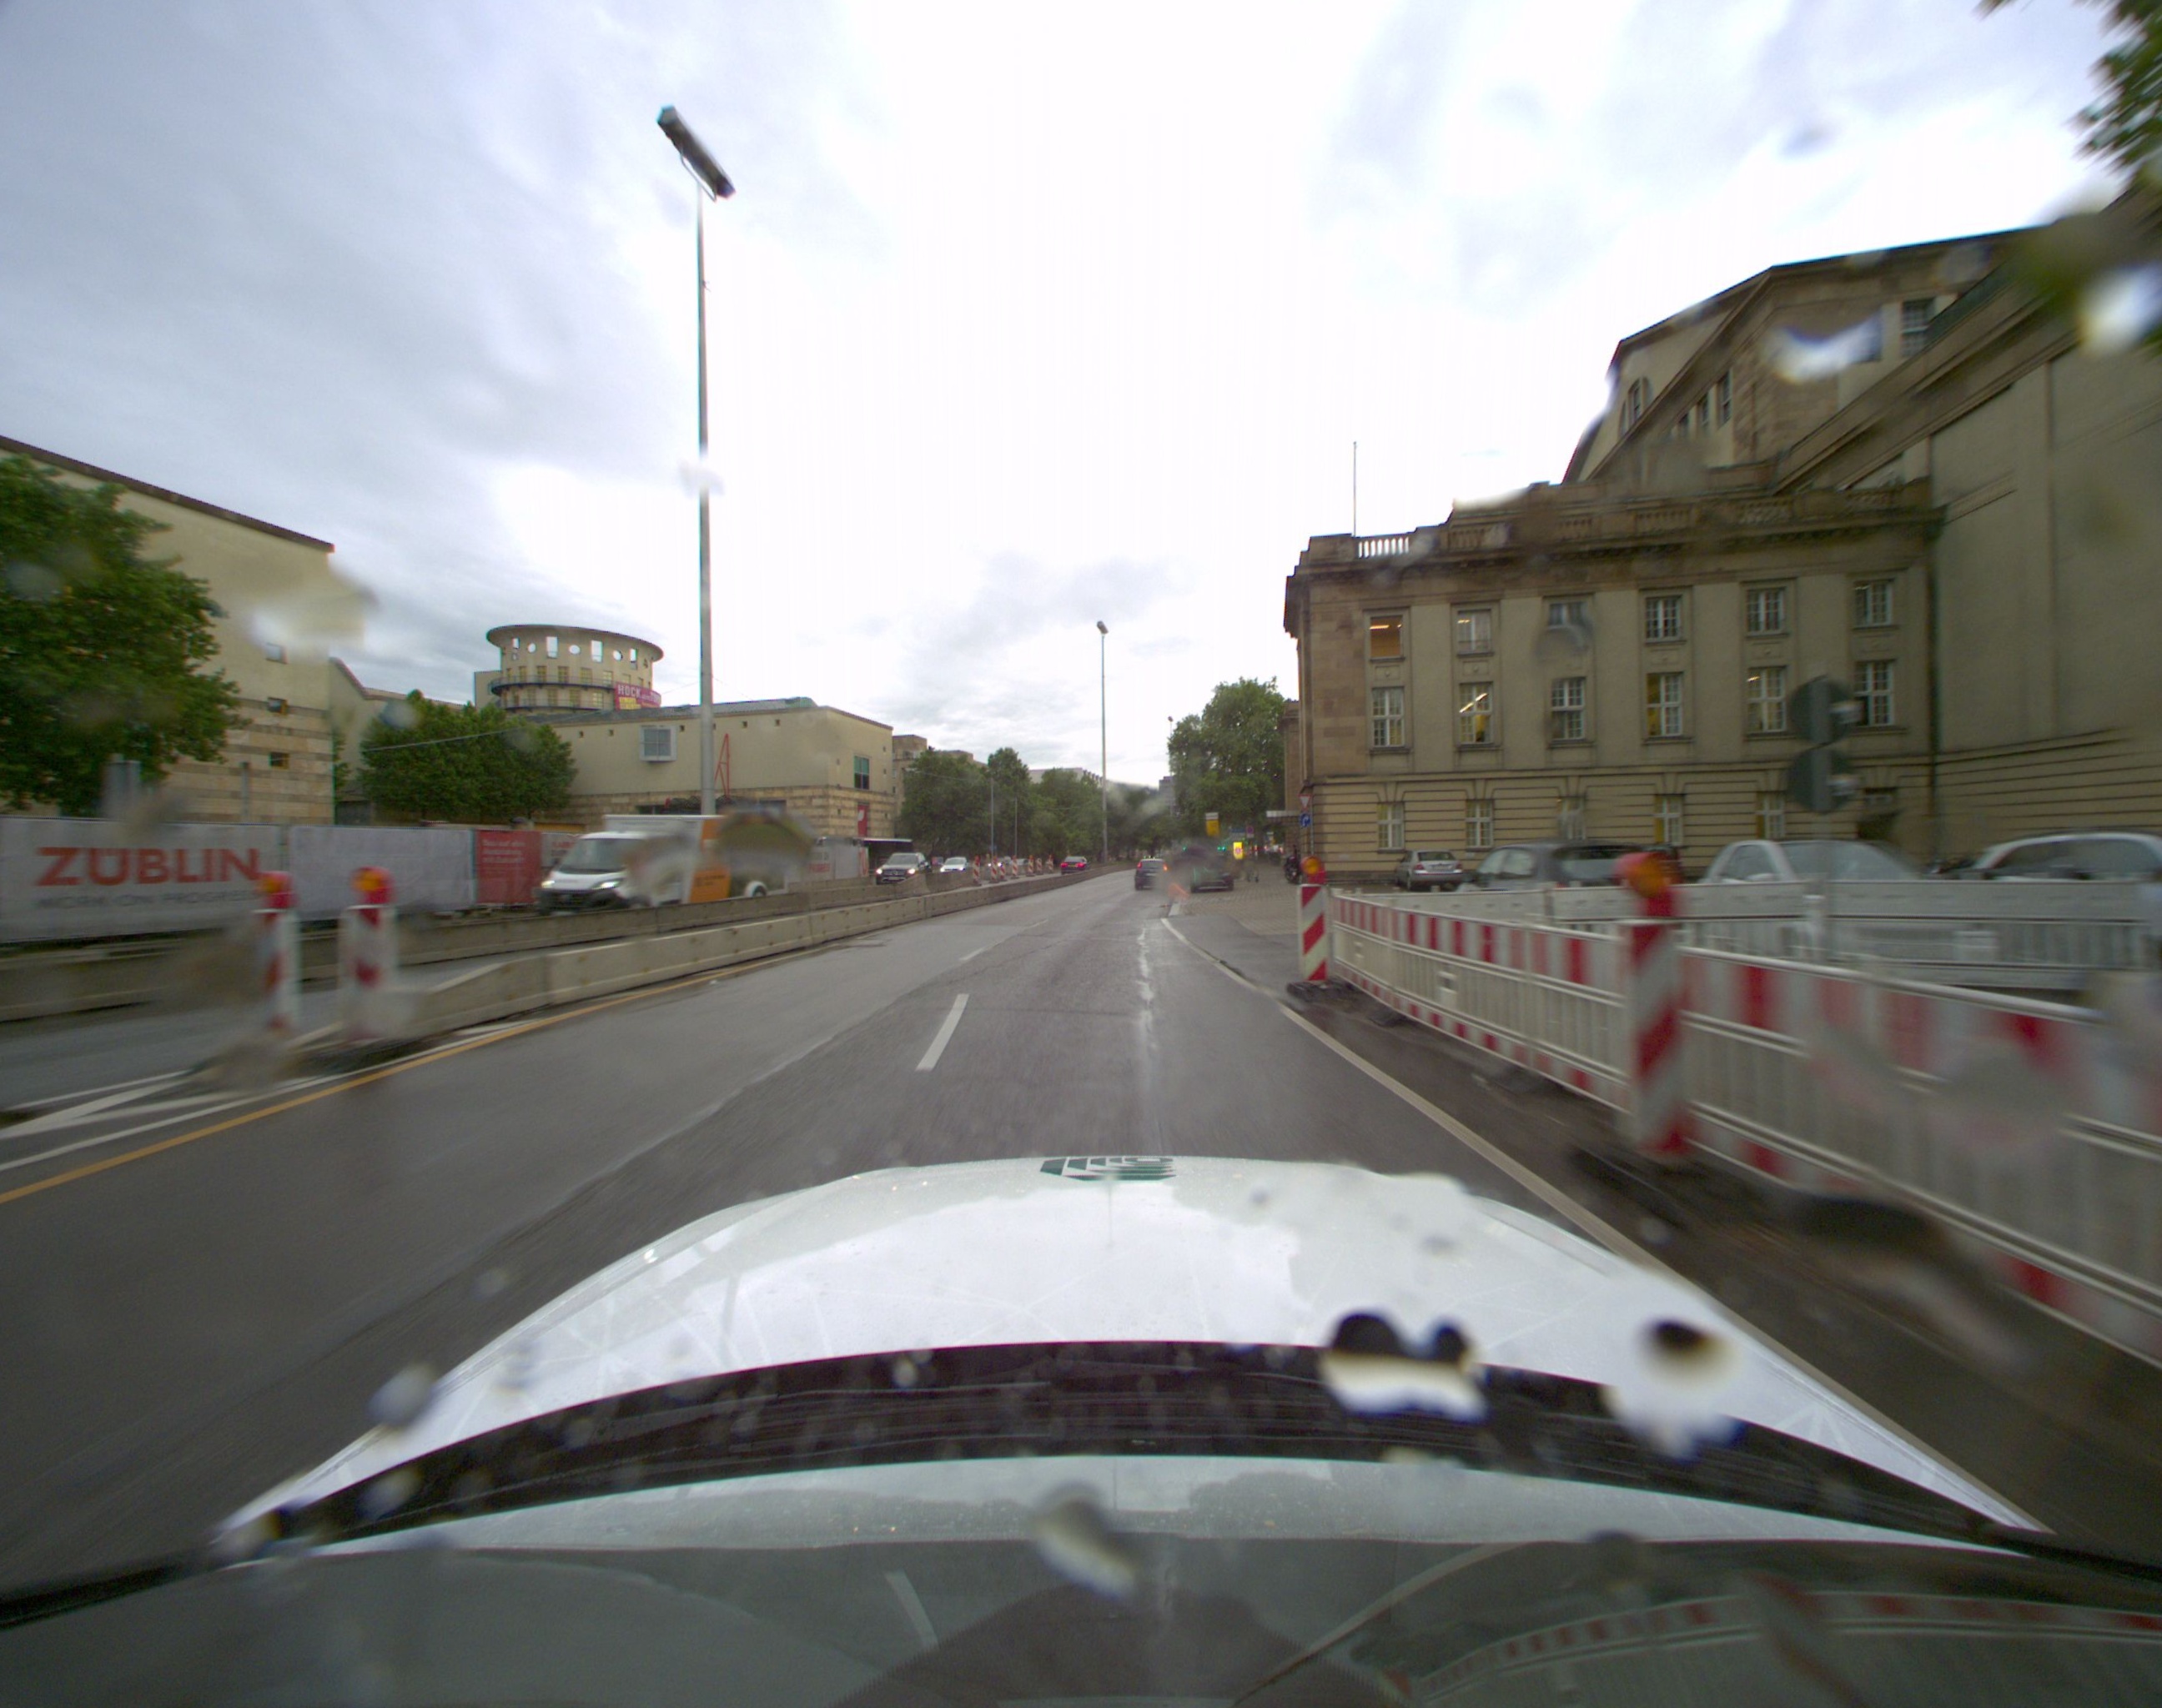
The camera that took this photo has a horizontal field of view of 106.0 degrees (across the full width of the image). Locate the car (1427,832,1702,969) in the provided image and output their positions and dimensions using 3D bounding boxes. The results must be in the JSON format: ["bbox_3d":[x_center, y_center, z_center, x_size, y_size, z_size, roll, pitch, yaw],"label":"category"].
[{"bbox_3d":[6.065,0.556,10.744,1.679,1.494,3.625,0,-1,4],"label":"car"}]

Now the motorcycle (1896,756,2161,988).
[{"bbox_3d":[9.442,0.147,7.902,0.743,1.904,2.598,-3,-1,11],"label":"motorcycle"}]

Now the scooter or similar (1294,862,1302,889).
[{"bbox_3d":[11.545,1.117,43.357,0.410,1.417,1.273,0,-1,16],"label":"scooter or similar"}]

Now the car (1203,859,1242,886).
[{"bbox_3d":[7.837,1.009,44.843,1.745,1.414,3.166,-1,-1,17],"label":"car"}]

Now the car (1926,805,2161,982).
[{"bbox_3d":[11.605,0.398,8.548,1.938,1.684,4.513,-1,-2,20],"label":"car"}]

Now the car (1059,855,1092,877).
[{"bbox_3d":[-0.370,0.909,60.415,1.744,1.452,4.009,-4,-1,8],"label":"car"}]

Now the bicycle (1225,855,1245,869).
[{"bbox_3d":[14.750,0.784,78.001,1.892,1.332,0.653,0,-1,14],"label":"bicycle"}]

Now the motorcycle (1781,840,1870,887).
[{"bbox_3d":[24.759,0.323,27.112,1.957,1.473,0.890,-2,-1,13],"label":"motorcycle"}]

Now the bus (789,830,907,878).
[{"bbox_3d":[-20.218,0.030,72.422,2.783,3.811,14.657,1,0,16],"label":"bus"}]

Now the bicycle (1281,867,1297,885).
[{"bbox_3d":[12.497,1.318,48.992,0.708,1.051,1.744,0,-1,7],"label":"bicycle"}]

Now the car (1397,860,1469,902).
[{"bbox_3d":[12.526,0.934,29.221,1.511,1.410,4.140,-1,-1,11],"label":"car"}]

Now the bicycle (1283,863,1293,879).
[{"bbox_3d":[13.201,1.068,51.893,0.579,1.038,1.766,0,-1,15],"label":"bicycle"}]

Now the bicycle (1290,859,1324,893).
[{"bbox_3d":[9.181,0.889,33.187,1.095,1.317,1.863,0,-1,8],"label":"bicycle"}]

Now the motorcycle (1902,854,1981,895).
[{"bbox_3d":[28.631,0.685,27.124,1.648,1.338,0.738,-2,-1,15],"label":"motorcycle"}]

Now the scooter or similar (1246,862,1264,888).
[{"bbox_3d":[8.584,1.029,40.198,0.434,1.293,1.253,0,-1,-12],"label":"scooter or similar"}]

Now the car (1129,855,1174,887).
[{"bbox_3d":[3.301,0.823,38.939,1.837,1.416,3.839,-2,-2,1],"label":"car"}]

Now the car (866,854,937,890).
[{"bbox_3d":[-8.304,0.788,38.152,1.912,1.530,4.766,-1,0,4],"label":"car"}]

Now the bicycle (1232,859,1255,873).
[{"bbox_3d":[15.693,1.121,78.619,2.175,1.336,0.653,0,-1,14],"label":"bicycle"}]

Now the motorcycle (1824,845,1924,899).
[{"bbox_3d":[23.569,0.525,24.239,1.957,1.545,0.853,0,1,13],"label":"motorcycle"}]

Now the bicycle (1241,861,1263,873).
[{"bbox_3d":[15.912,1.228,75.927,1.973,1.060,0.761,0,-1,8],"label":"bicycle"}]

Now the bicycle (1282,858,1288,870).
[{"bbox_3d":[18.068,0.890,72.219,0.350,1.080,1.794,-2,-2,11],"label":"bicycle"}]

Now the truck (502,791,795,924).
[{"bbox_3d":[-10.202,0.084,20.374,2.383,2.719,7.376,-1,0,10],"label":"truck"}]

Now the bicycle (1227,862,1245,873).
[{"bbox_3d":[14.744,1.269,77.540,1.667,1.090,0.653,0,-1,14],"label":"bicycle"}]

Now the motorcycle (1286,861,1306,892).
[{"bbox_3d":[9.466,0.973,35.889,0.801,1.299,1.806,0,-1,16],"label":"motorcycle"}]

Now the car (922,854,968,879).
[{"bbox_3d":[-8.623,0.751,52.062,1.984,1.530,4.005,-1,0,4],"label":"car"}]

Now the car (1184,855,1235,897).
[{"bbox_3d":[5.446,0.872,34.099,1.859,1.619,4.418,-2,0,11],"label":"car"}]

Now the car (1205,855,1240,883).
[{"bbox_3d":[9.449,0.990,54.102,1.979,1.781,4.204,0,-1,14],"label":"car"}]

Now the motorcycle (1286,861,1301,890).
[{"bbox_3d":[9.961,0.996,38.160,0.662,1.326,2.143,0,-1,16],"label":"motorcycle"}]

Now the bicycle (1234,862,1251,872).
[{"bbox_3d":[15.754,1.299,79.464,1.578,0.994,0.526,0,-1,14],"label":"bicycle"}]

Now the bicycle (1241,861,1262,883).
[{"bbox_3d":[9.741,1.024,46.471,0.773,1.218,1.966,-2,-1,1],"label":"bicycle"}]

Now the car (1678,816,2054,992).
[{"bbox_3d":[8.083,0.483,8.784,1.570,1.537,3.032,-2,-1,14],"label":"car"}]

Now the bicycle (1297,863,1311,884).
[{"bbox_3d":[11.643,0.996,42.463,0.414,1.050,1.781,-1,-1,24],"label":"bicycle"}]

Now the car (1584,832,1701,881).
[{"bbox_3d":[19.609,0.078,28.677,1.806,1.540,4.524,-2,0,13],"label":"car"}]

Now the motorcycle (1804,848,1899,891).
[{"bbox_3d":[23.856,0.474,25.252,1.958,1.197,0.853,3,0,13],"label":"motorcycle"}]

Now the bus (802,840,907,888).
[{"bbox_3d":[-21.458,0.885,78.546,3.096,4.252,13.549,1,0,15],"label":"bus"}]
